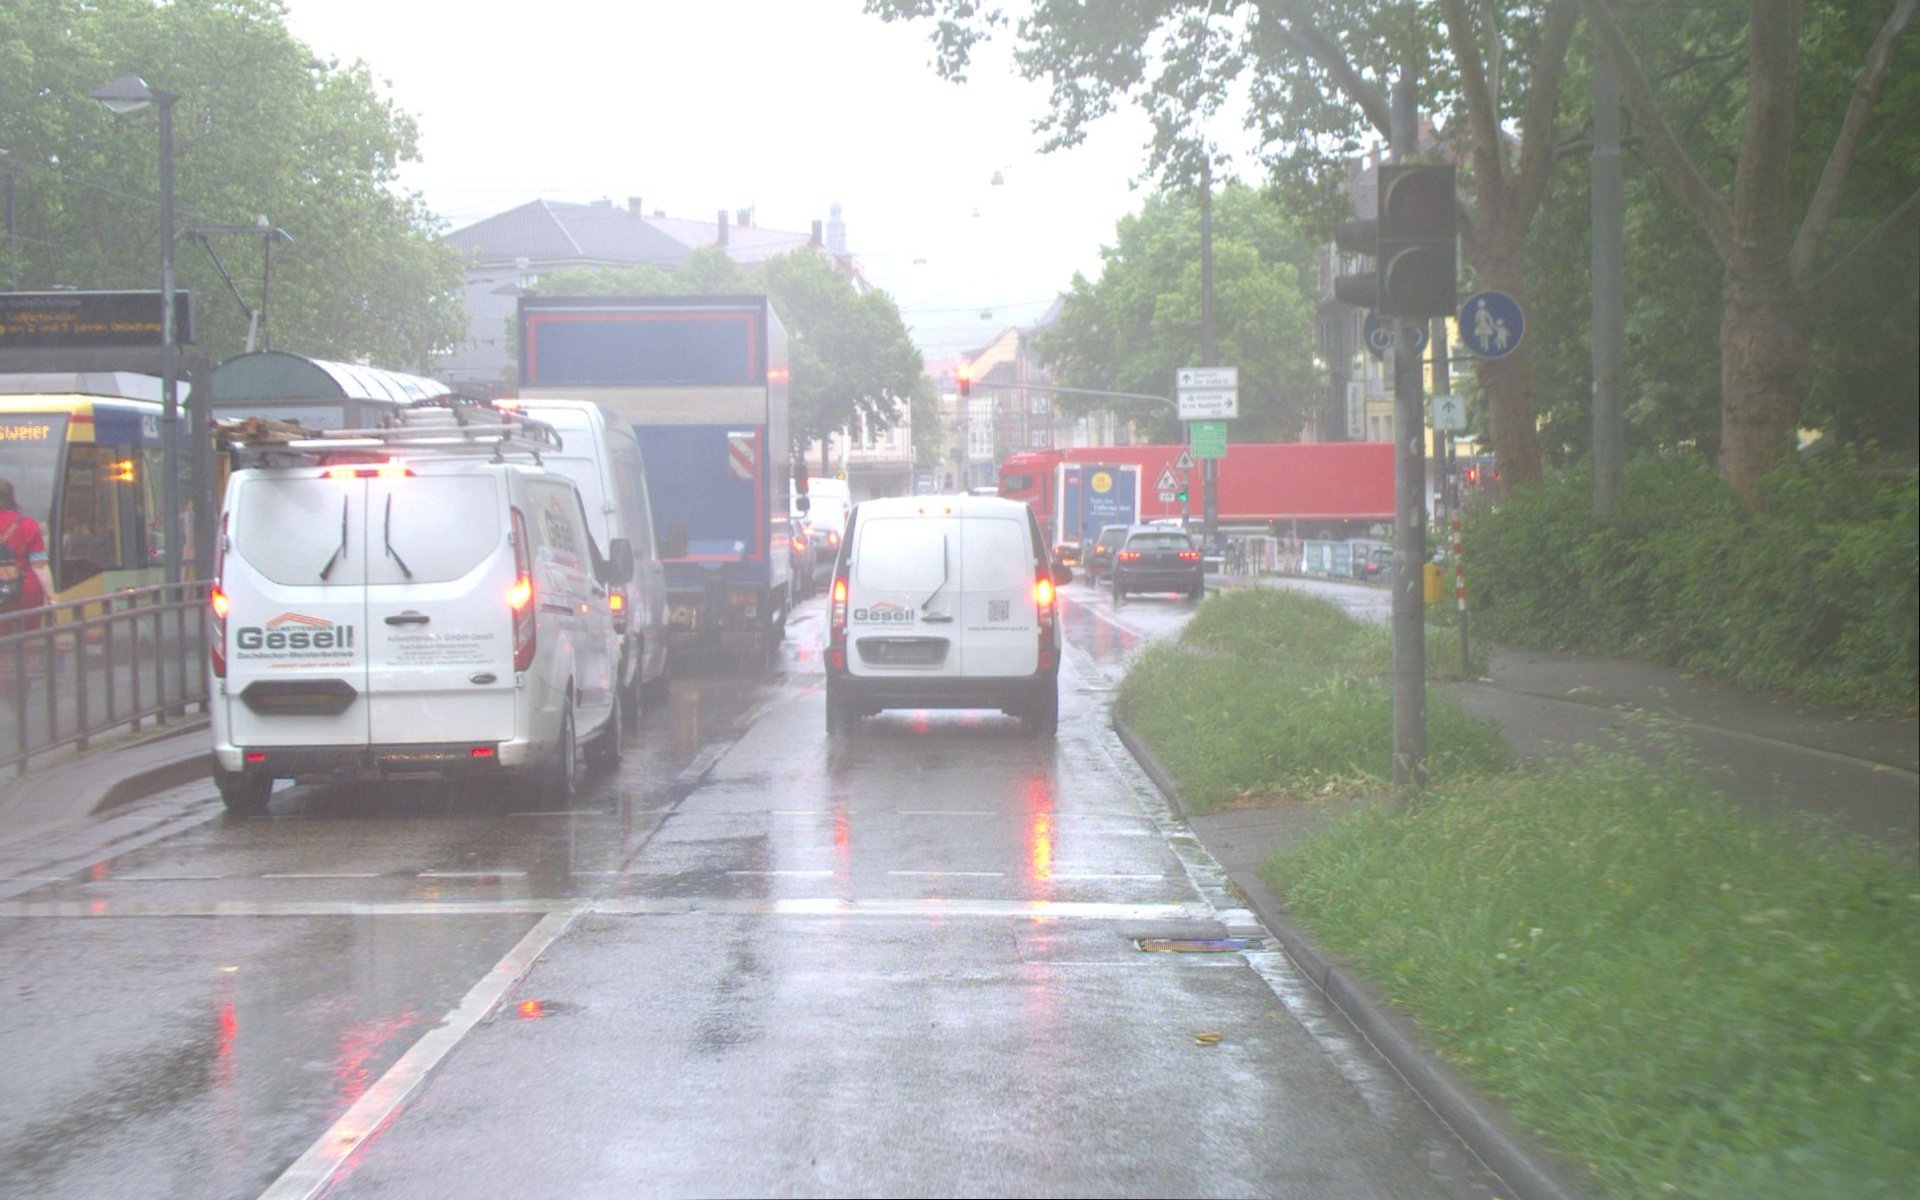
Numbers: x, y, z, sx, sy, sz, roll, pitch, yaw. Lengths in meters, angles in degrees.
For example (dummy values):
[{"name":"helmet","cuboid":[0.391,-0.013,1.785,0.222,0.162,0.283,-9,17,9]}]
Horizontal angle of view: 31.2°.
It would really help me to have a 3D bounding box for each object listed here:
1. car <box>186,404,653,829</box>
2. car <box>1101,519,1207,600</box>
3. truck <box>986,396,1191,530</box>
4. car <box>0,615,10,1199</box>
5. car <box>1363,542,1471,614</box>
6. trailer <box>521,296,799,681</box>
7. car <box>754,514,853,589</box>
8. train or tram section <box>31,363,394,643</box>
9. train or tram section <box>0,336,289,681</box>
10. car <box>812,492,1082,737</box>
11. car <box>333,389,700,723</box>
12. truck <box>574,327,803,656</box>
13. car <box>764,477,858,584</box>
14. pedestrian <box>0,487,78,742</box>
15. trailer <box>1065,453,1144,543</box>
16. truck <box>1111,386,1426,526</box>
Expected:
[{"name":"car","cuboid":[-3.106,0.067,20.894,1.993,2.254,5.289,0,0,0]},{"name":"car","cuboid":[3.829,-0.816,67.404,1.994,1.536,4.000,-1,1,4]},{"name":"truck","cuboid":[4.994,-5.294,133.261,7.163,4.882,3.286,-1,2,18]},{"name":"car","cuboid":[-3.245,0.790,6.732,1.725,1.474,3.806,0,0,0]},{"name":"car","cuboid":[10.728,-0.544,80.929,1.822,1.485,4.353,-2,2,-1]},{"name":"trailer","cuboid":[-3.205,-1.226,38.543,2.590,3.886,7.637,0,1,-1]},{"name":"car","cuboid":[-3.417,-1.083,75.701,1.993,1.573,4.292,1,1,0]},{"name":"train or tram section","cuboid":[-9.693,-1.326,45.622,2.979,3.274,8.432,-2,2,-1]},{"name":"train or tram section","cuboid":[-9.564,-1.009,37.224,2.961,3.274,8.361,-2,2,-1]},{"name":"car","cuboid":[-0.099,0.091,26.703,1.959,1.771,3.570,0,0,0]},{"name":"car","cuboid":[-3.619,-0.357,29.316,2.329,2.548,6.114,0,0,0]},{"name":"truck","cuboid":[-3.298,-1.334,42.633,2.580,3.890,4.001,0,1,-1]},{"name":"car","cuboid":[-3.486,-1.634,81.213,1.993,2.433,4.612,1,1,0]},{"name":"pedestrian","cuboid":[-6.549,0.092,23.527,0.790,1.708,0.771,1,0,-1]},{"name":"trailer","cuboid":[3.933,-2.728,92.983,1.994,2.309,4.668,0,0,4]},{"name":"truck","cuboid":[11.751,-5.452,131.048,11.373,4.882,3.286,-1,2,18]}]
